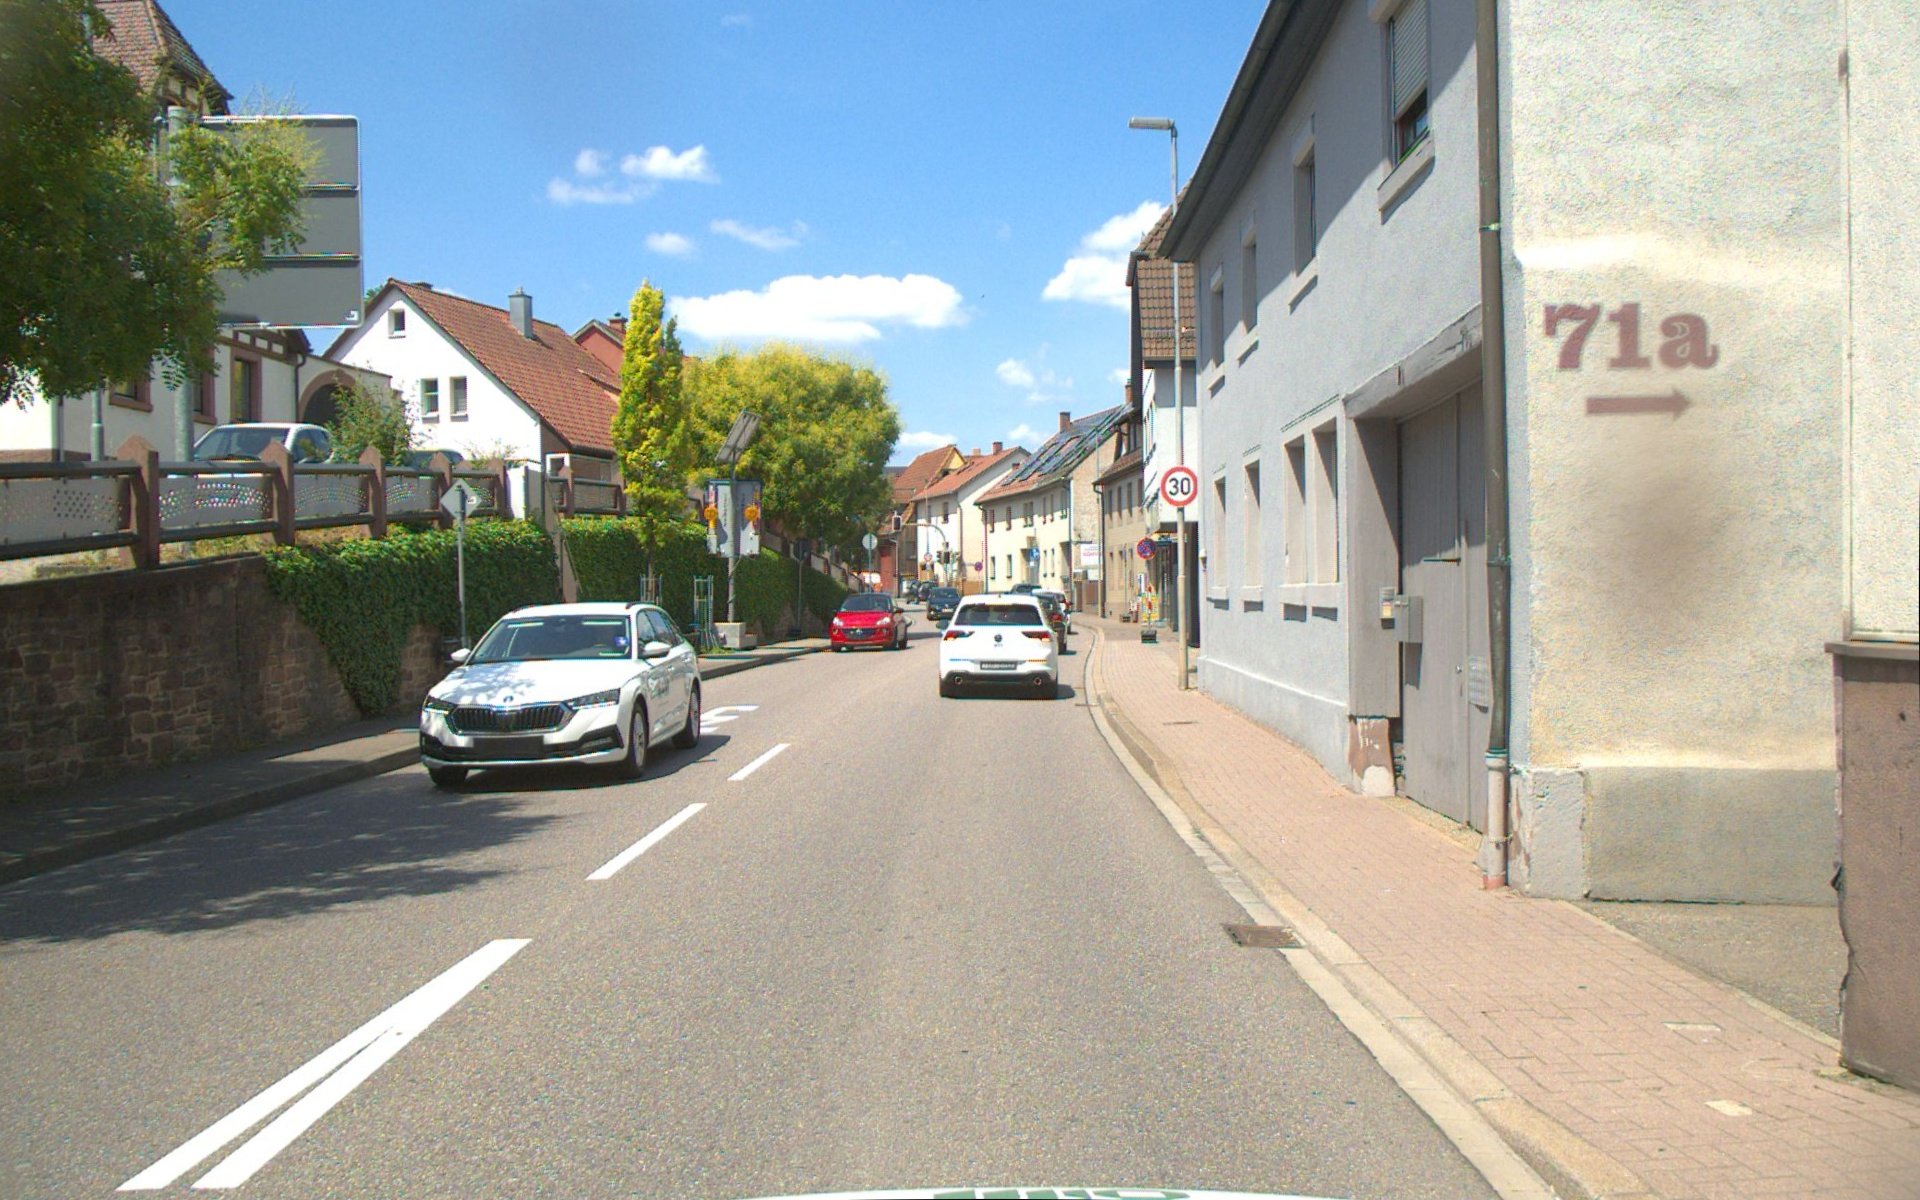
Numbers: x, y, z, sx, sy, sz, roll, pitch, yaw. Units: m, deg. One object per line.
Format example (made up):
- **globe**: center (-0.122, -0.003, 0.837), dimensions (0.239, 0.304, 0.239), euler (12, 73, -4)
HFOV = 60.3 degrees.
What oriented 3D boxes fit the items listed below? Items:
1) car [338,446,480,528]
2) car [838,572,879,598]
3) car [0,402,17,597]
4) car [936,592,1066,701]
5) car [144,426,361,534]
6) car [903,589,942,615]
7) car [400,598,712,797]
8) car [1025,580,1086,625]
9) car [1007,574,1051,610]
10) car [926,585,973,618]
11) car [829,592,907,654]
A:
- **car**: center (-10.380, -2.195, 31.424), dimensions (1.545, 1.385, 3.856), euler (-1, 6, -3)
- **car**: center (-7.190, -1.049, 117.237), dimensions (1.751, 1.796, 3.974), euler (-1, 1, -22)
- **car**: center (-8.543, -0.617, 11.655), dimensions (1.660, 1.569, 3.856), euler (-1, 6, -3)
- **car**: center (0.544, 0.642, 24.931), dimensions (1.771, 1.493, 3.999), euler (1, 0, -1)
- **car**: center (-9.936, -1.770, 23.531), dimensions (1.545, 1.385, 3.856), euler (-1, 6, -3)
- **car**: center (-2.371, 0.097, 103.626), dimensions (1.744, 1.565, 3.988), euler (-1, 1, -12)
- **car**: center (-3.509, 0.766, 15.225), dimensions (1.776, 1.472, 4.430), euler (-2, 0, -1)
- **car**: center (3.330, 0.079, 57.072), dimensions (1.769, 1.493, 4.003), euler (1, 0, 8)
- **car**: center (3.087, -0.361, 74.905), dimensions (1.739, 1.565, 3.999), euler (-1, 1, -1)
- **car**: center (-0.439, 0.036, 74.629), dimensions (1.756, 1.401, 4.119), euler (-1, 1, 5)
- **car**: center (-2.371, 0.566, 43.237), dimensions (1.583, 1.469, 3.803), euler (-3, 0, 3)
